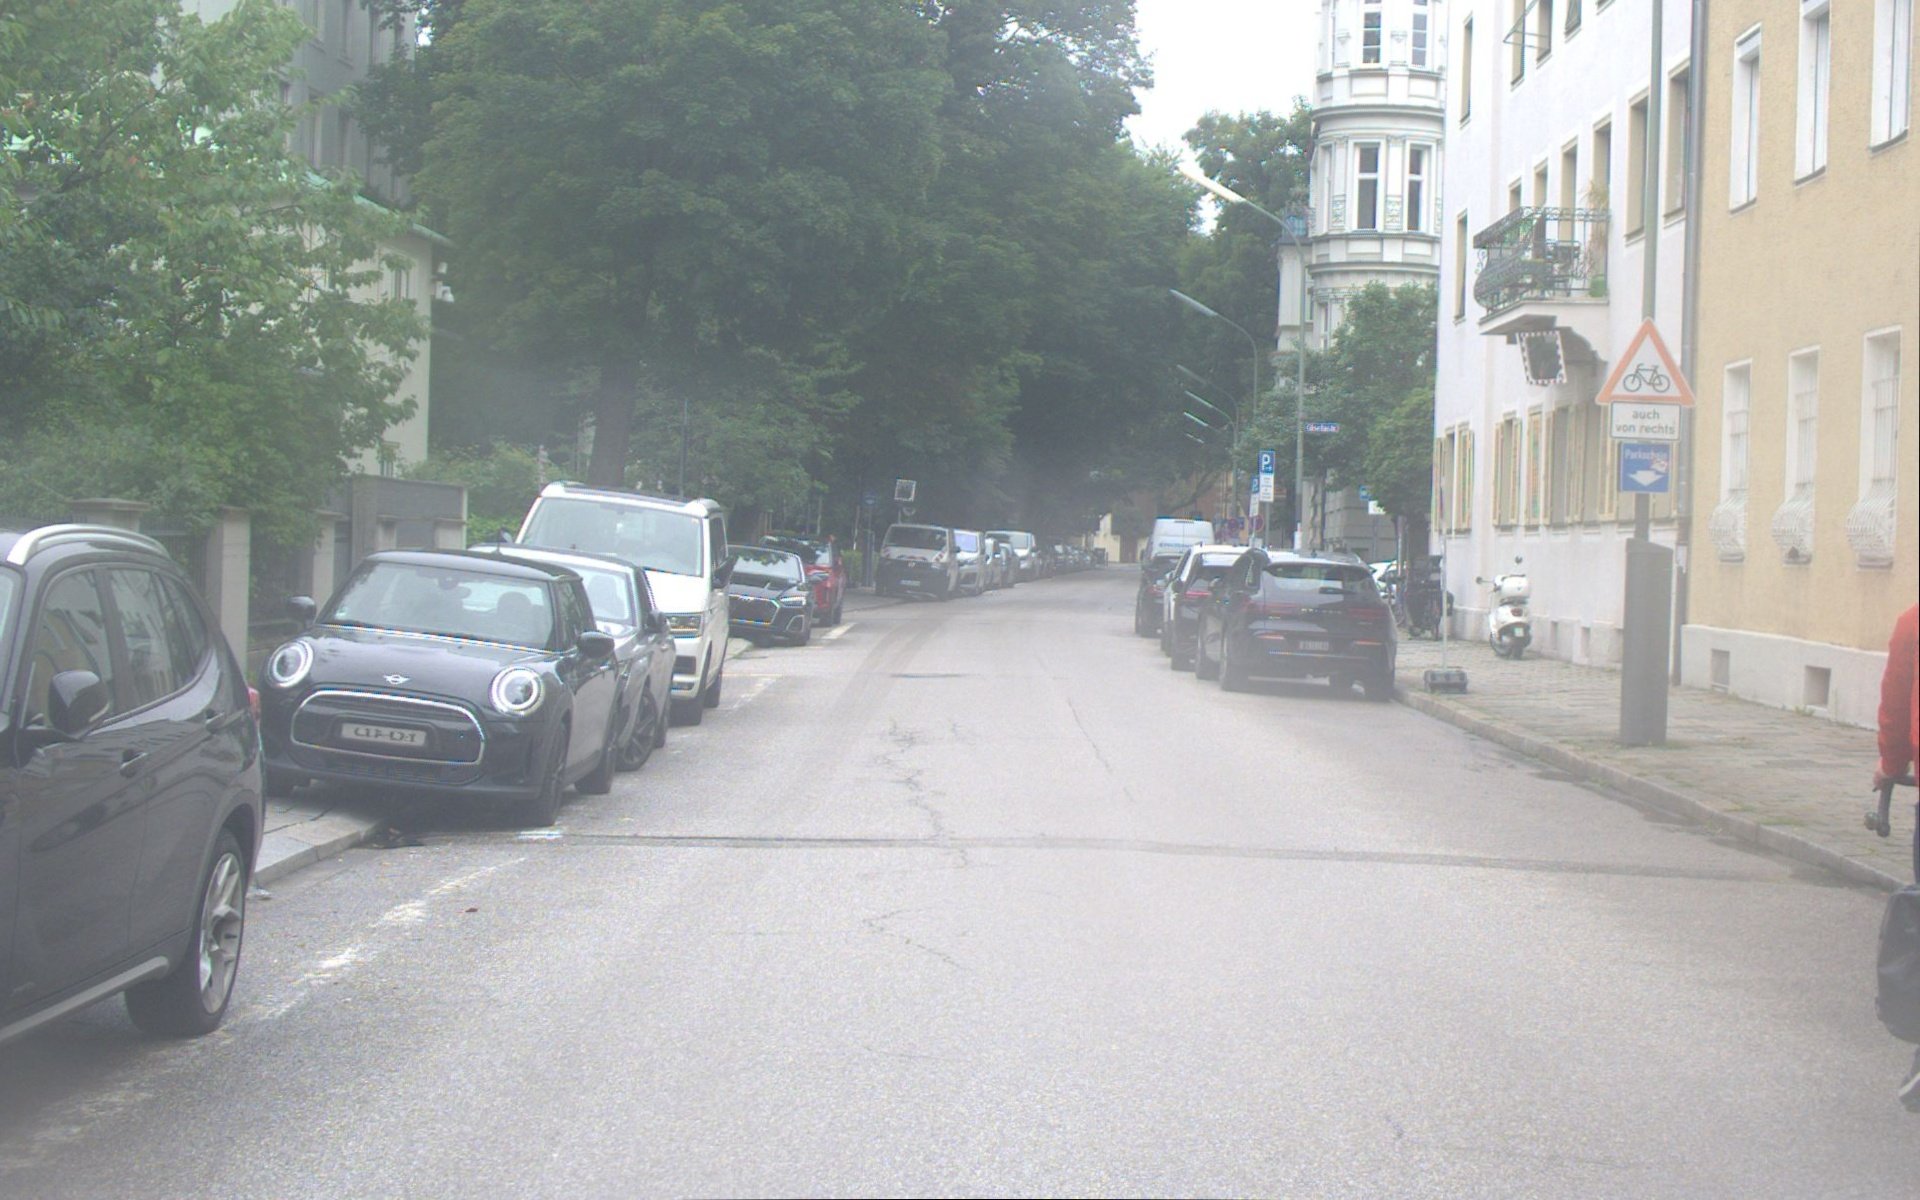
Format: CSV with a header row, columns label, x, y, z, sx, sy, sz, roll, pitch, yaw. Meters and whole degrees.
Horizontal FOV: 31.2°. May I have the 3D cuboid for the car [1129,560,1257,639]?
label,x,y,z,sx,sy,sz,roll,pitch,yaw
car,4.058,-0.034,60.502,2.000,1.314,4.595,-1,1,1

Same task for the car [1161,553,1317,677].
label,x,y,z,sx,sy,sz,roll,pitch,yaw
car,3.657,0.164,45.705,1.838,1.526,4.415,1,1,2

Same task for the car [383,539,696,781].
label,x,y,z,sx,sy,sz,roll,pitch,yaw
car,-2.977,0.363,25.240,1.887,1.538,4.697,2,1,-3

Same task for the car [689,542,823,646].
label,x,y,z,sx,sy,sz,roll,pitch,yaw
car,-3.036,-0.129,51.993,1.807,1.397,4.925,3,1,-2

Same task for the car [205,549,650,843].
label,x,y,z,sx,sy,sz,roll,pitch,yaw
car,-2.986,0.476,20.151,1.859,1.539,4.188,0,1,2

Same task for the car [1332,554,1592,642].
label,x,y,z,sx,sy,sz,roll,pitch,yaw
car,10.041,-0.053,69.019,4.906,1.526,1.913,1,3,1

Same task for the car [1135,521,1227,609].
label,x,y,z,sx,sy,sz,roll,pitch,yaw
car,5.724,-0.909,89.543,2.204,2.201,4.855,1,0,2

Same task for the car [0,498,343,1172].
label,x,y,z,sx,sy,sz,roll,pitch,yaw
car,-3.130,0.499,9.276,1.845,1.602,4.742,3,1,2

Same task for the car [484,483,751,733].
label,x,y,z,sx,sy,sz,roll,pitch,yaw
car,-3.009,0.024,31.211,1.966,1.983,5.152,3,1,-2

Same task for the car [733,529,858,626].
label,x,y,z,sx,sy,sz,roll,pitch,yaw
car,-2.914,-0.420,61.726,1.887,1.585,4.528,3,1,1

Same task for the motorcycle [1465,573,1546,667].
label,x,y,z,sx,sy,sz,roll,pitch,yaw
motorcycle,7.589,0.267,47.874,0.732,1.235,2.007,3,1,0

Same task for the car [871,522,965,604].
label,x,y,z,sx,sy,sz,roll,pitch,yaw
car,-1.064,-0.971,89.836,2.247,1.950,5.454,3,1,1

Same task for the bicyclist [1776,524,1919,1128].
label,x,y,z,sx,sy,sz,roll,pitch,yaw
bicyclist,2.637,0.569,8.929,0.754,1.478,0.981,3,0,2

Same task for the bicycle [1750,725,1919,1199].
label,x,y,z,sx,sy,sz,roll,pitch,yaw
bicycle,2.634,0.961,9.027,0.672,1.137,2.011,3,1,2

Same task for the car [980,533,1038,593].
label,x,y,z,sx,sy,sz,roll,pitch,yaw
car,1.938,-1.456,134.457,2.002,2.179,4.696,3,1,2

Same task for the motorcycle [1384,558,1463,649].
label,x,y,z,sx,sy,sz,roll,pitch,yaw
motorcycle,7.627,0.037,56.665,0.857,1.428,2.707,2,1,-1

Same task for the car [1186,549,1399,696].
label,x,y,z,sx,sy,sz,roll,pitch,yaw
car,3.821,0.215,40.262,1.860,1.571,4.900,1,1,-2

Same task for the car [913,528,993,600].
label,x,y,z,sx,sy,sz,roll,pitch,yaw
car,-0.172,-1.063,101.523,2.183,1.950,5.167,3,1,1

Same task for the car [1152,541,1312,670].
label,x,y,z,sx,sy,sz,roll,pitch,yaw
car,3.985,0.037,51.000,1.993,1.701,4.534,4,1,1
